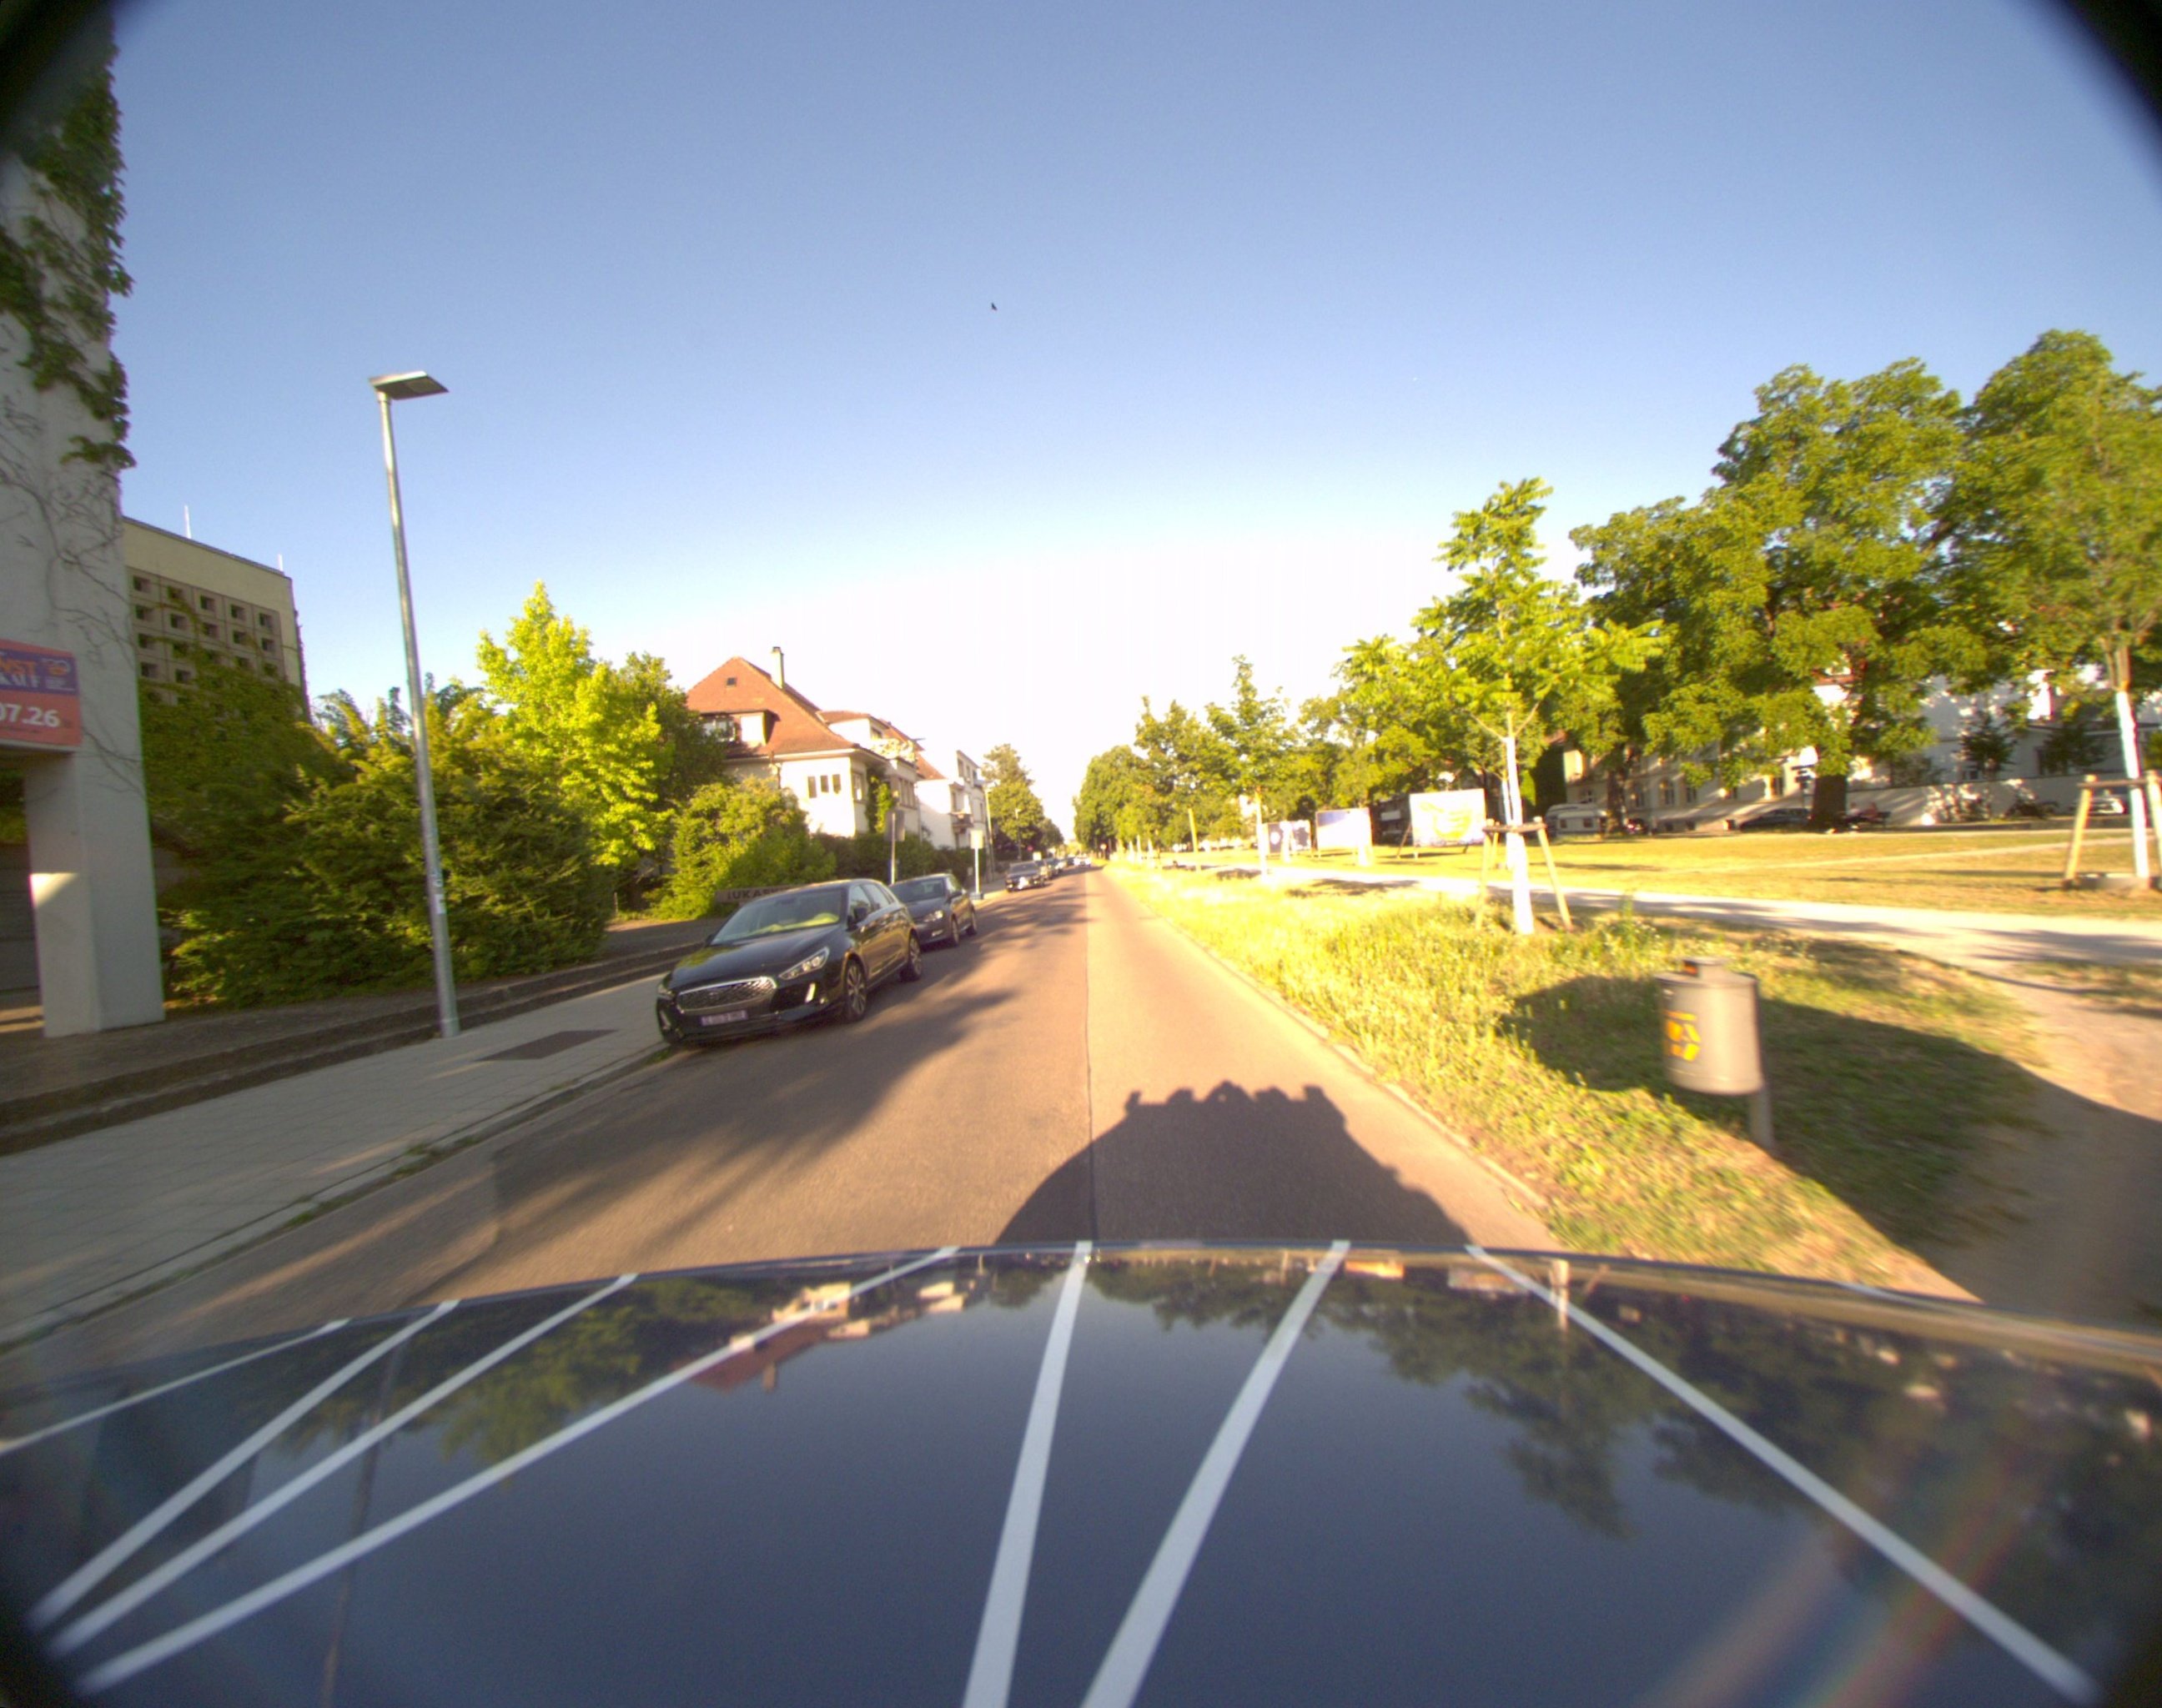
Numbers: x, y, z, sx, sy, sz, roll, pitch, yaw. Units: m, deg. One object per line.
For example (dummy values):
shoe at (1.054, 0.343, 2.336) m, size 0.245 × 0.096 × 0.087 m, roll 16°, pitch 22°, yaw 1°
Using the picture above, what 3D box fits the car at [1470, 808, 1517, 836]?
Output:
car at (40.176, -3.095, 74.168) m, size 1.950 × 2.625 × 5.043 m, roll -1°, pitch 1°, yaw 1°

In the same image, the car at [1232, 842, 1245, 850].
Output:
car at (35.297, -1.835, 170.287) m, size 1.998 × 1.692 × 4.000 m, roll -4°, pitch 0°, yaw 1°

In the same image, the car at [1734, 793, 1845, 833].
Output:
car at (40.067, -2.242, 43.141) m, size 1.894 × 1.901 × 4.714 m, roll -4°, pitch 0°, yaw 1°

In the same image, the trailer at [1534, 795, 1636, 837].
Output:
trailer at (34.036, -2.493, 51.670) m, size 2.479 × 2.644 × 6.634 m, roll -1°, pitch 1°, yaw 0°

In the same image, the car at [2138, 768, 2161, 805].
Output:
car at (55.054, -3.475, 36.711) m, size 5.064 × 1.759 × 2.071 m, roll -4°, pitch 1°, yaw 0°

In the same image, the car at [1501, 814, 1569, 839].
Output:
car at (34.241, -2.037, 57.523) m, size 1.999 × 1.632 × 4.950 m, roll -5°, pitch 1°, yaw -1°

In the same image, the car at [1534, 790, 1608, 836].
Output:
car at (39.942, -3.267, 62.212) m, size 1.998 × 3.230 × 6.075 m, roll -4°, pitch 0°, yaw 0°

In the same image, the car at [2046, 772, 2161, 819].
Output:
car at (49.528, -2.824, 36.285) m, size 4.524 × 1.889 × 1.980 m, roll -4°, pitch 0°, yaw -4°

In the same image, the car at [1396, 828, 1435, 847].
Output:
car at (34.452, -1.642, 78.418) m, size 1.999 × 1.718 × 4.344 m, roll -4°, pitch 0°, yaw -1°

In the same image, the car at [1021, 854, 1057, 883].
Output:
car at (-2.837, 0.962, 51.986) m, size 1.888 × 1.528 × 4.461 m, roll -7°, pitch 1°, yaw 2°

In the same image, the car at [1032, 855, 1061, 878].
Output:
car at (-2.756, 1.024, 62.341) m, size 1.916 × 1.550 × 4.567 m, roll -8°, pitch -1°, yaw 1°

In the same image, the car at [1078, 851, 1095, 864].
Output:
car at (0.676, 0.425, 97.564) m, size 1.999 × 1.483 × 4.000 m, roll -2°, pitch 0°, yaw -1°

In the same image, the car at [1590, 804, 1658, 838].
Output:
car at (39.633, -2.372, 55.566) m, size 1.998 × 2.142 × 4.000 m, roll -4°, pitch 0°, yaw 1°

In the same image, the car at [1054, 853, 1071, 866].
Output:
car at (-2.559, 0.749, 105.619) m, size 2.111 × 1.396 × 4.132 m, roll -9°, pitch 0°, yaw 1°

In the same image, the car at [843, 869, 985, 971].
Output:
car at (-3.193, 1.198, 15.399) m, size 1.692 × 1.519 × 4.175 m, roll -8°, pitch 0°, yaw 1°

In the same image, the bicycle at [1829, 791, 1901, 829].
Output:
bicycle at (30.957, -1.703, 30.058) m, size 0.512 × 1.334 × 2.331 m, roll -4°, pitch 0°, yaw 4°

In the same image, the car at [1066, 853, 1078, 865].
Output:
car at (-1.721, 0.938, 142.674) m, size 1.998 × 2.179 × 4.001 m, roll -4°, pitch 0°, yaw 1°

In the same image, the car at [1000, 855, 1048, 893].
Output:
car at (-2.970, 1.003, 40.655) m, size 1.999 × 1.588 × 4.885 m, roll -8°, pitch 1°, yaw 0°

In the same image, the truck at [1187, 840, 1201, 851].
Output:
truck at (35.304, -2.763, 237.710) m, size 2.785 × 3.128 × 7.710 m, roll -4°, pitch 0°, yaw -1°

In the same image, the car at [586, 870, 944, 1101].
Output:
car at (-3.076, 1.157, 8.688) m, size 1.827 × 1.552 × 4.622 m, roll -10°, pitch 0°, yaw 1°

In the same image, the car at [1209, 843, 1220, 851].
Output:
car at (35.353, -1.835, 201.774) m, size 2.125 × 2.002 × 3.998 m, roll -1°, pitch 1°, yaw -1°

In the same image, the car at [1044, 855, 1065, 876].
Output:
car at (-2.633, 1.113, 76.802) m, size 1.806 × 1.639 × 4.583 m, roll -9°, pitch 1°, yaw -1°
